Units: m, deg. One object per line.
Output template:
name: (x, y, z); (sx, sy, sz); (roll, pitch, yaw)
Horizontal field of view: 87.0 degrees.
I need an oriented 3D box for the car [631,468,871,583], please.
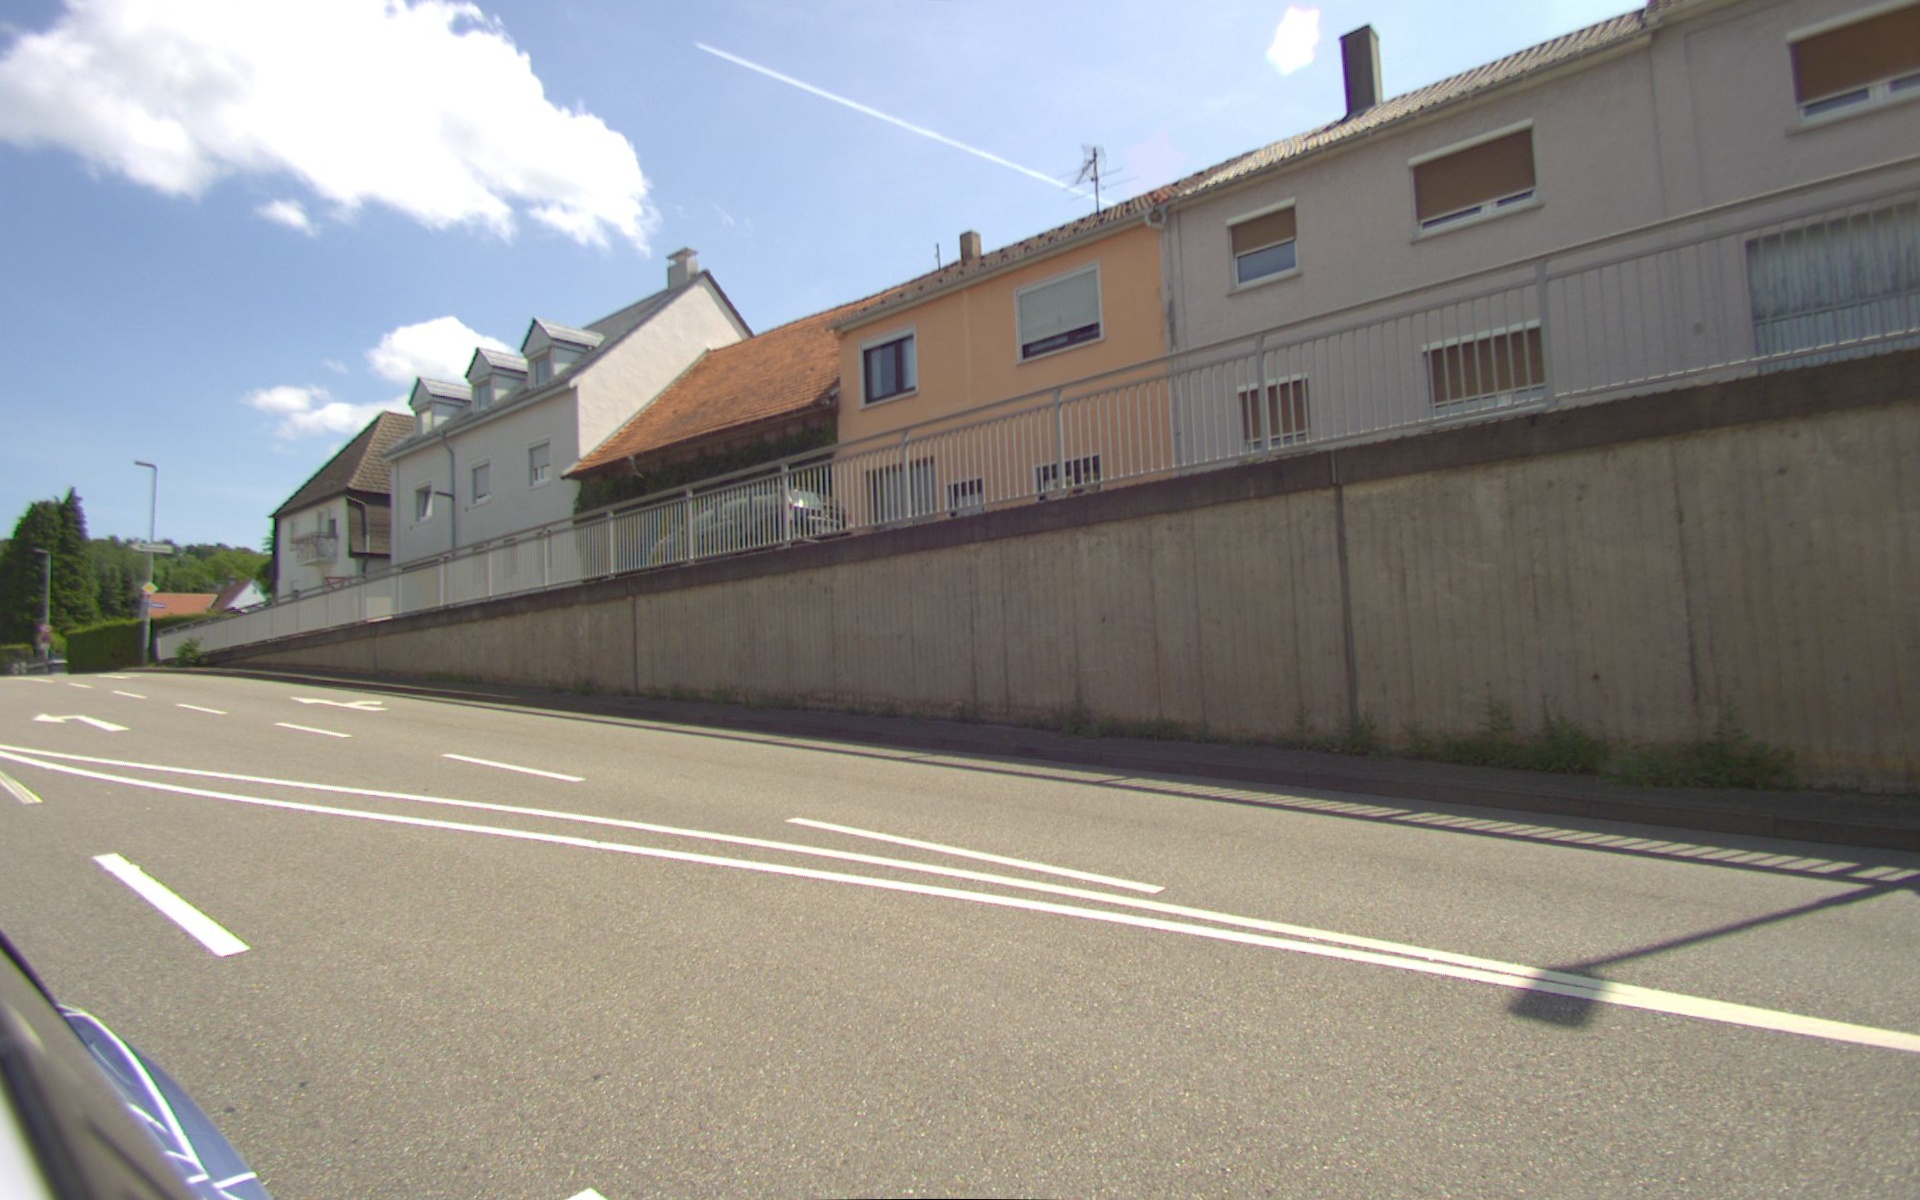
car: (-3.774, -1.196, 17.837); (4.388, 1.416, 1.768); (-5, -4, 39)
